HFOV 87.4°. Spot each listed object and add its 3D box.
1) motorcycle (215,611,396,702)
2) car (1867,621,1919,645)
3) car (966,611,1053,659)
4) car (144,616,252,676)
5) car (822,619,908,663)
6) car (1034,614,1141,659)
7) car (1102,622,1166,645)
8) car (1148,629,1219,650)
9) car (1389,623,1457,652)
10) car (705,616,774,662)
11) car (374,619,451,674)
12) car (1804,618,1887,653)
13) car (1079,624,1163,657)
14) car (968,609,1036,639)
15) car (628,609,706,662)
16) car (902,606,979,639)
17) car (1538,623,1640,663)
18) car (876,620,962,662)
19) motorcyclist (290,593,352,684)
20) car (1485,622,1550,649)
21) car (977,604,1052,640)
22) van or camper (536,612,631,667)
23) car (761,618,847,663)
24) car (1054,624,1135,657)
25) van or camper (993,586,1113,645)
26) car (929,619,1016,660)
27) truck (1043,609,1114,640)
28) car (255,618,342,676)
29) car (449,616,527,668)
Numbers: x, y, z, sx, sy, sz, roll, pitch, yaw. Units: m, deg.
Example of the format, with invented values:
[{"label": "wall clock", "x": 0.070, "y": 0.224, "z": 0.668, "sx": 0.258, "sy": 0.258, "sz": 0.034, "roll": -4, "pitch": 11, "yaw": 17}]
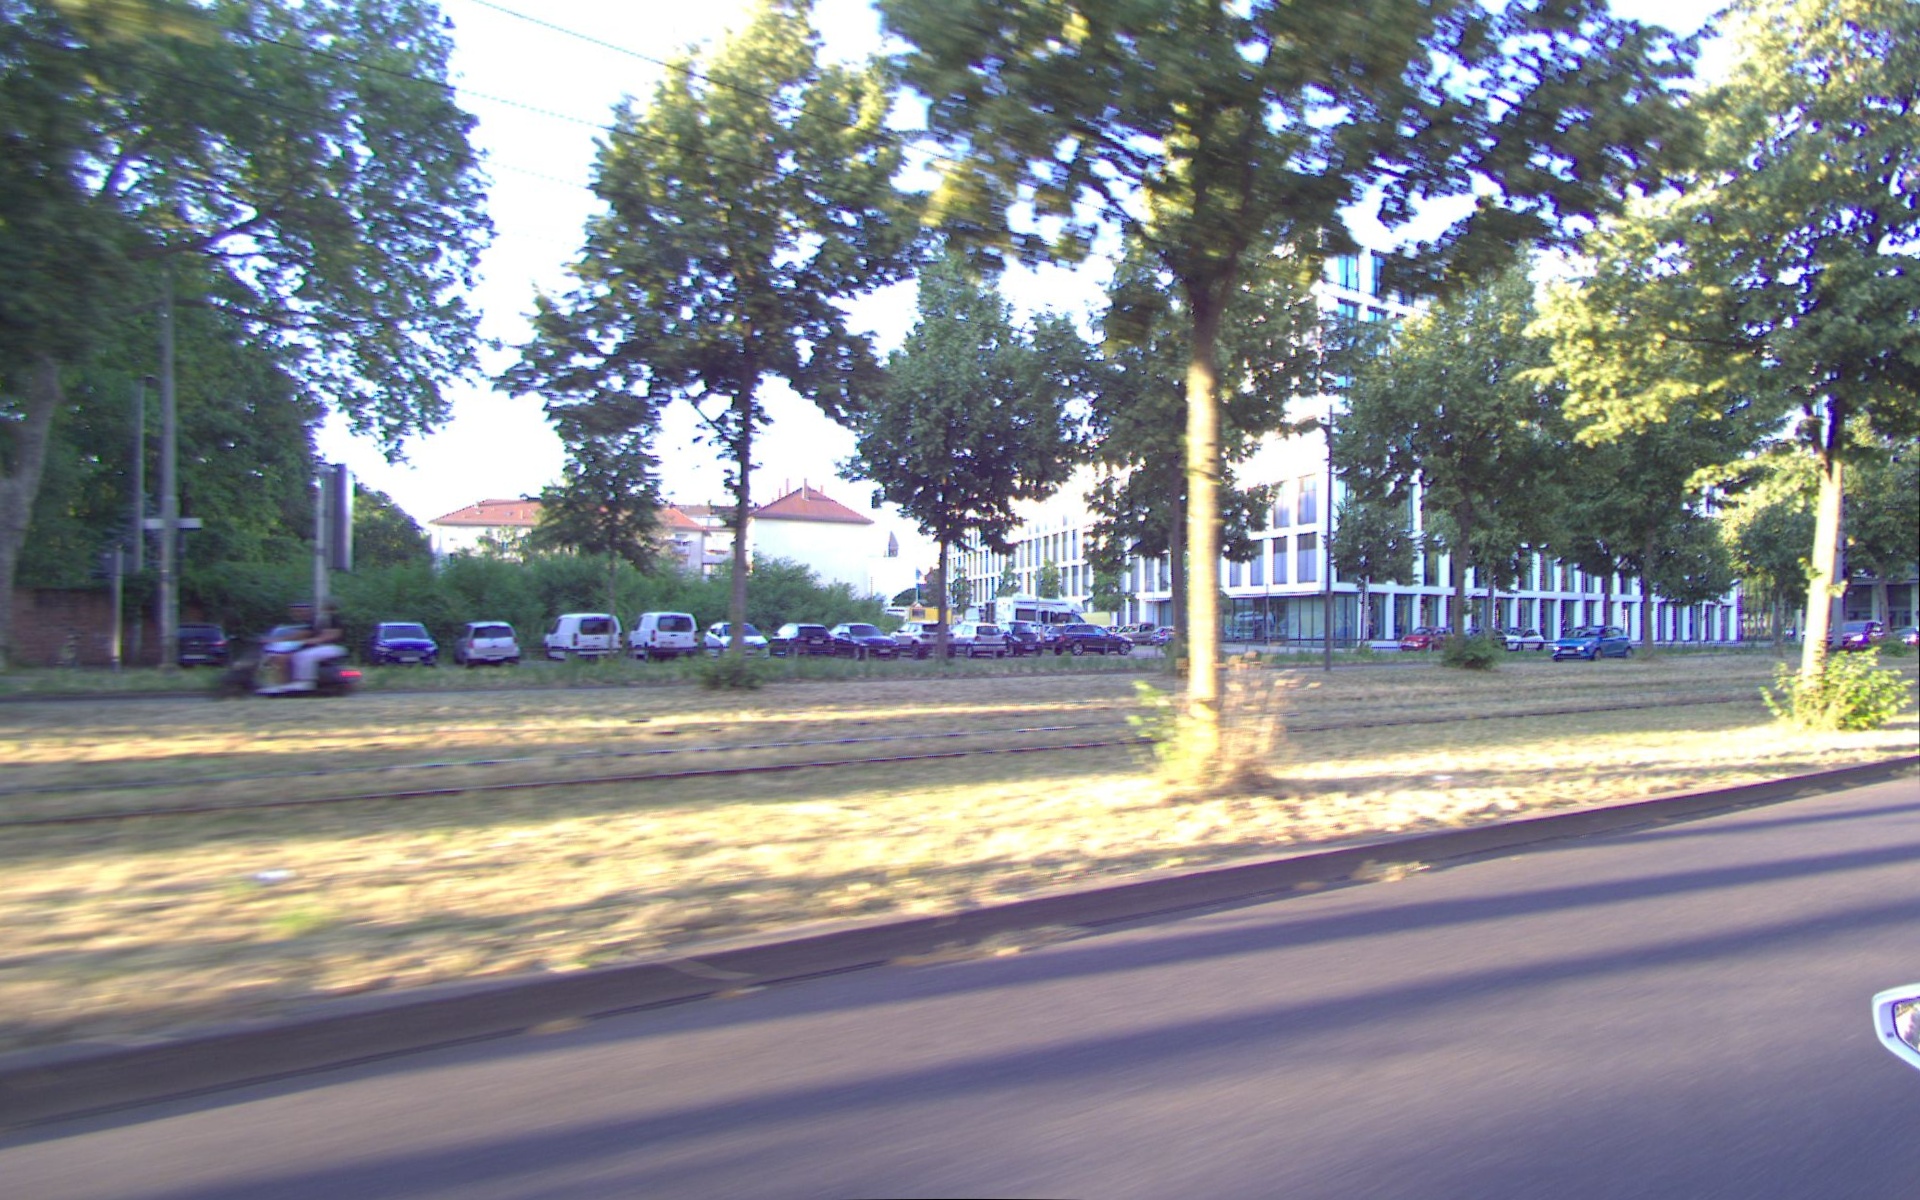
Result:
[{"label": "motorcycle", "x": -10.214, "y": 0.859, "z": 15.787, "sx": 2.318, "sy": 1.354, "sz": 0.678, "roll": 1, "pitch": -1, "yaw": -32}, {"label": "car", "x": 54.863, "y": 1.943, "z": 58.712, "sx": 4.425, "sy": 1.350, "sz": 1.648, "roll": 1, "pitch": -1, "yaw": -32}, {"label": "car", "x": 2.178, "y": 1.545, "z": 45.304, "sx": 1.979, "sy": 2.040, "sz": 3.964, "roll": 1, "pitch": -1, "yaw": -33}, {"label": "car", "x": -22.660, "y": 1.313, "z": 30.022, "sx": 1.898, "sy": 1.661, "sz": 3.971, "roll": 1, "pitch": -1, "yaw": -28}, {"label": "car", "x": -3.915, "y": 1.639, "z": 41.012, "sx": 1.902, "sy": 1.661, "sz": 3.963, "roll": 1, "pitch": -1, "yaw": -33}, {"label": "car", "x": 6.049, "y": 1.718, "z": 47.410, "sx": 4.876, "sy": 2.040, "sz": 1.983, "roll": 1, "pitch": -1, "yaw": -31}, {"label": "car", "x": 12.513, "y": 2.438, "z": 72.255, "sx": 4.212, "sy": 1.610, "sz": 1.761, "roll": 1, "pitch": -1, "yaw": -19}, {"label": "car", "x": 14.451, "y": 2.550, "z": 64.856, "sx": 4.184, "sy": 1.277, "sz": 1.738, "roll": 1, "pitch": -1, "yaw": -18}, {"label": "car", "x": 26.228, "y": 2.094, "z": 56.883, "sx": 3.450, "sy": 1.603, "sz": 1.851, "roll": 1, "pitch": -1, "yaw": -30}, {"label": "car", "x": -8.530, "y": 1.466, "z": 38.593, "sx": 1.895, "sy": 1.661, "sz": 3.978, "roll": 1, "pitch": -1, "yaw": -23}, {"label": "car", "x": -17.975, "y": 1.452, "z": 32.880, "sx": 1.902, "sy": 1.661, "sz": 3.963, "roll": 1, "pitch": -1, "yaw": -33}, {"label": "car", "x": 42.257, "y": 1.696, "z": 47.919, "sx": 4.136, "sy": 1.599, "sz": 1.875, "roll": 1, "pitch": -1, "yaw": -32}, {"label": "car", "x": 8.260, "y": 2.049, "z": 51.494, "sx": 3.948, "sy": 1.661, "sz": 1.909, "roll": 1, "pitch": -1, "yaw": -27}, {"label": "car", "x": 2.698, "y": 1.543, "z": 64.714, "sx": 3.949, "sy": 1.835, "sz": 1.909, "roll": 1, "pitch": -1, "yaw": -28}, {"label": "car", "x": -11.052, "y": 1.304, "z": 37.706, "sx": 1.988, "sy": 1.869, "sz": 3.969, "roll": 1, "pitch": -1, "yaw": -29}, {"label": "car", "x": -1.568, "y": 1.894, "z": 82.293, "sx": 5.993, "sy": 2.631, "sz": 1.993, "roll": 1, "pitch": -1, "yaw": -17}, {"label": "car", "x": 25.950, "y": 1.747, "z": 41.417, "sx": 4.238, "sy": 1.528, "sz": 1.908, "roll": 1, "pitch": -1, "yaw": -31}, {"label": "car", "x": -1.784, "y": 1.678, "z": 42.406, "sx": 1.902, "sy": 1.661, "sz": 3.963, "roll": 1, "pitch": -1, "yaw": -33}, {"label": "motorcyclist", "x": -10.075, "y": 0.595, "z": 15.863, "sx": 0.795, "sy": 1.394, "sz": 0.677, "roll": 1, "pitch": -1, "yaw": -31}, {"label": "car", "x": 34.464, "y": 2.187, "z": 62.070, "sx": 3.739, "sy": 1.603, "sz": 1.851, "roll": 1, "pitch": -1, "yaw": -30}, {"label": "car", "x": 3.176, "y": 1.273, "z": 58.601, "sx": 3.953, "sy": 2.040, "sz": 1.984, "roll": 1, "pitch": -1, "yaw": -30}, {"label": "van or camper", "x": -13.450, "y": 1.362, "z": 35.772, "sx": 1.984, "sy": 1.815, "sz": 3.954, "roll": 1, "pitch": -1, "yaw": -40}, {"label": "car", "x": -6.221, "y": 1.559, "z": 39.779, "sx": 1.902, "sy": 1.661, "sz": 3.963, "roll": 1, "pitch": -1, "yaw": -33}, {"label": "car", "x": 7.189, "y": 2.146, "z": 53.639, "sx": 3.948, "sy": 1.661, "sz": 1.909, "roll": 1, "pitch": -1, "yaw": -27}, {"label": "van or camper", "x": 5.180, "y": 0.854, "z": 55.794, "sx": 6.181, "sy": 3.126, "sz": 2.701, "roll": 1, "pitch": -1, "yaw": -27}, {"label": "car", "x": 0.483, "y": 1.659, "z": 43.513, "sx": 1.902, "sy": 1.661, "sz": 3.963, "roll": 1, "pitch": -1, "yaw": -33}, {"label": "truck", "x": 9.614, "y": 1.992, "z": 81.559, "sx": 5.487, "sy": 2.413, "sz": 1.991, "roll": 1, "pitch": -1, "yaw": -20}, {"label": "car", "x": -20.574, "y": 1.411, "z": 31.403, "sx": 1.898, "sy": 1.661, "sz": 3.970, "roll": 1, "pitch": -1, "yaw": -28}, {"label": "car", "x": -16.266, "y": 1.395, "z": 34.556, "sx": 1.902, "sy": 1.661, "sz": 3.963, "roll": 1, "pitch": -1, "yaw": -33}]
